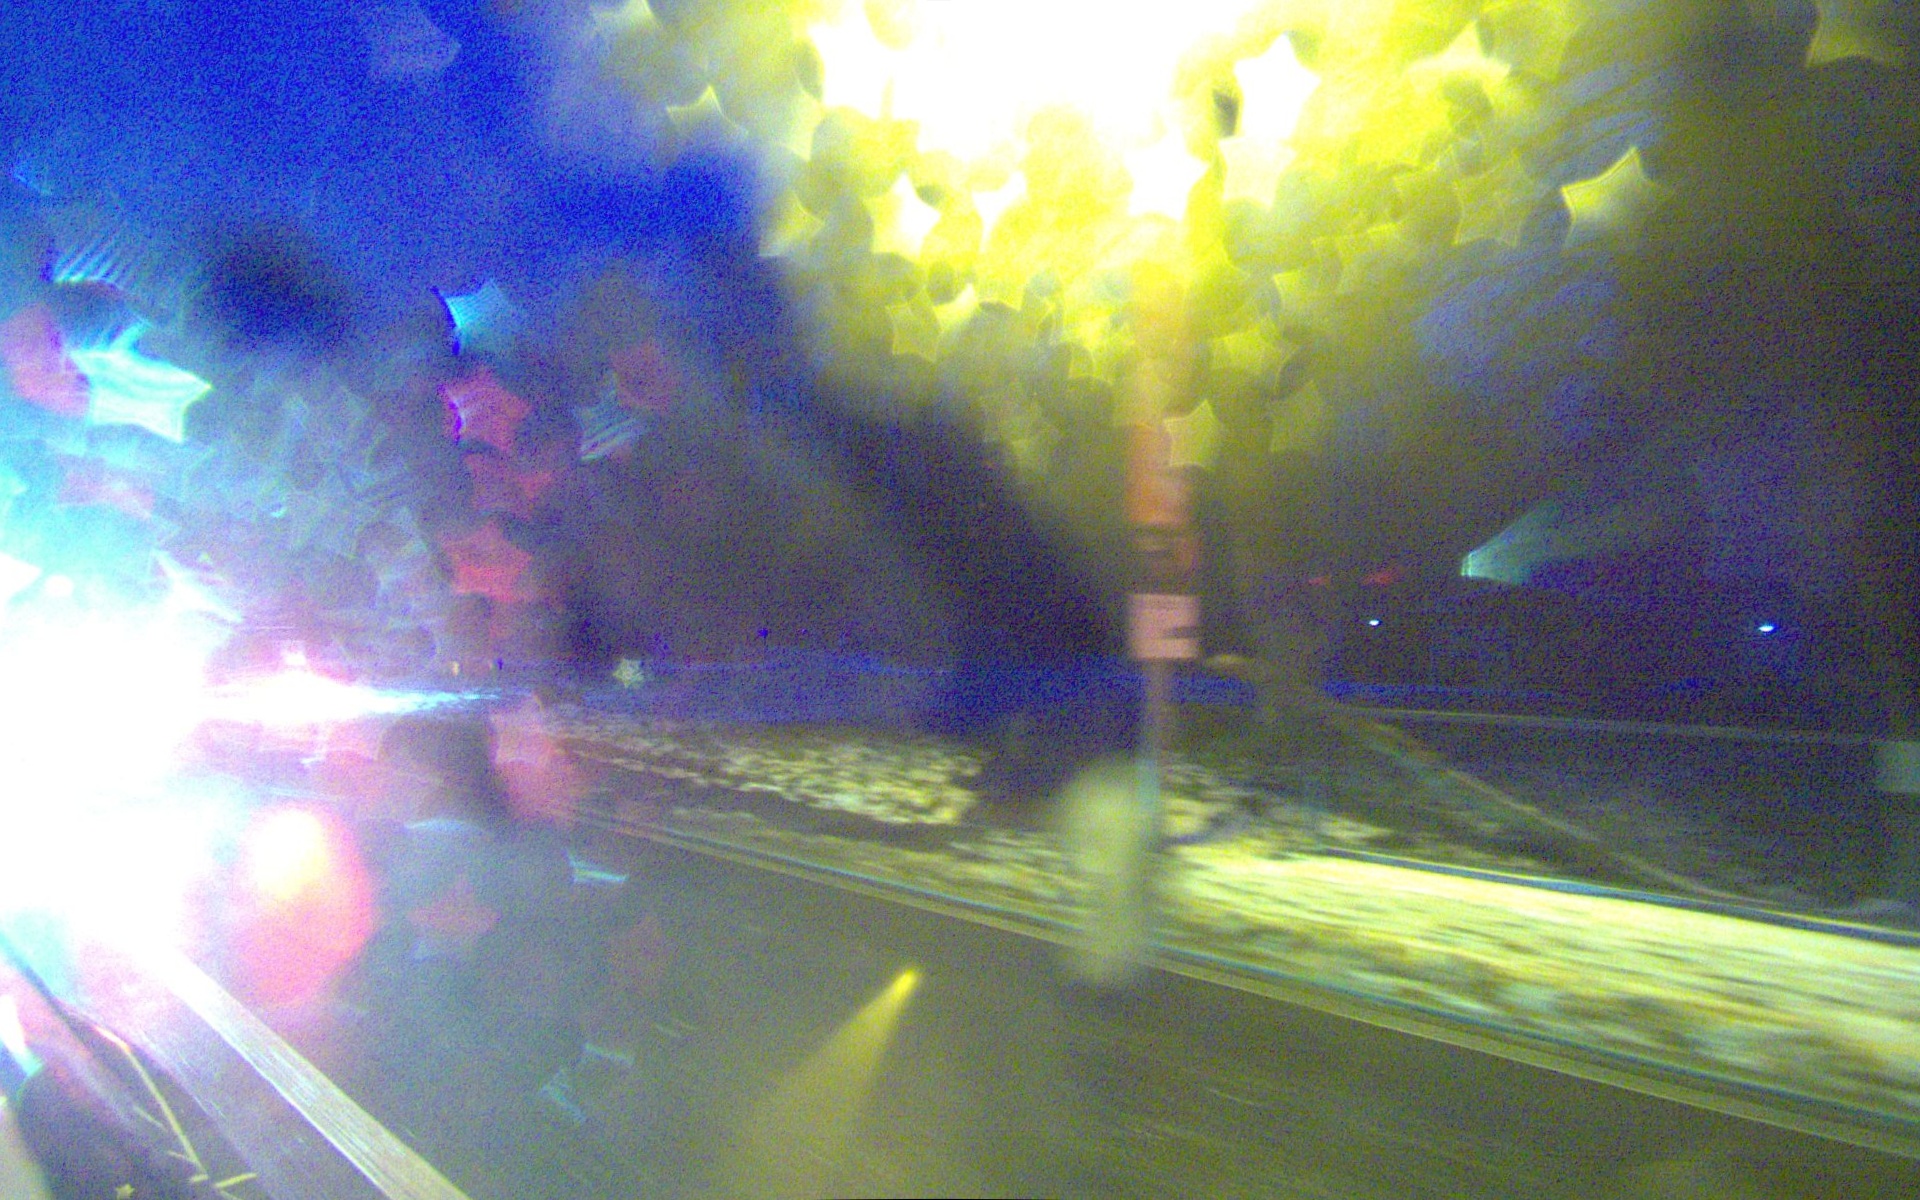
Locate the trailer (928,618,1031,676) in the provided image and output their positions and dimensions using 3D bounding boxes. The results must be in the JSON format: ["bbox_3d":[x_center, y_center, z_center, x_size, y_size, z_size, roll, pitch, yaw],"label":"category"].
[{"bbox_3d":[0.817,1.984,42.598,3.745,2.234,1.980,4,-2,-30],"label":"trailer"}]

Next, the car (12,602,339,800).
[{"bbox_3d":[-7.995,0.935,10.159,4.355,1.557,1.853,-3,-5,43],"label":"car"}]
